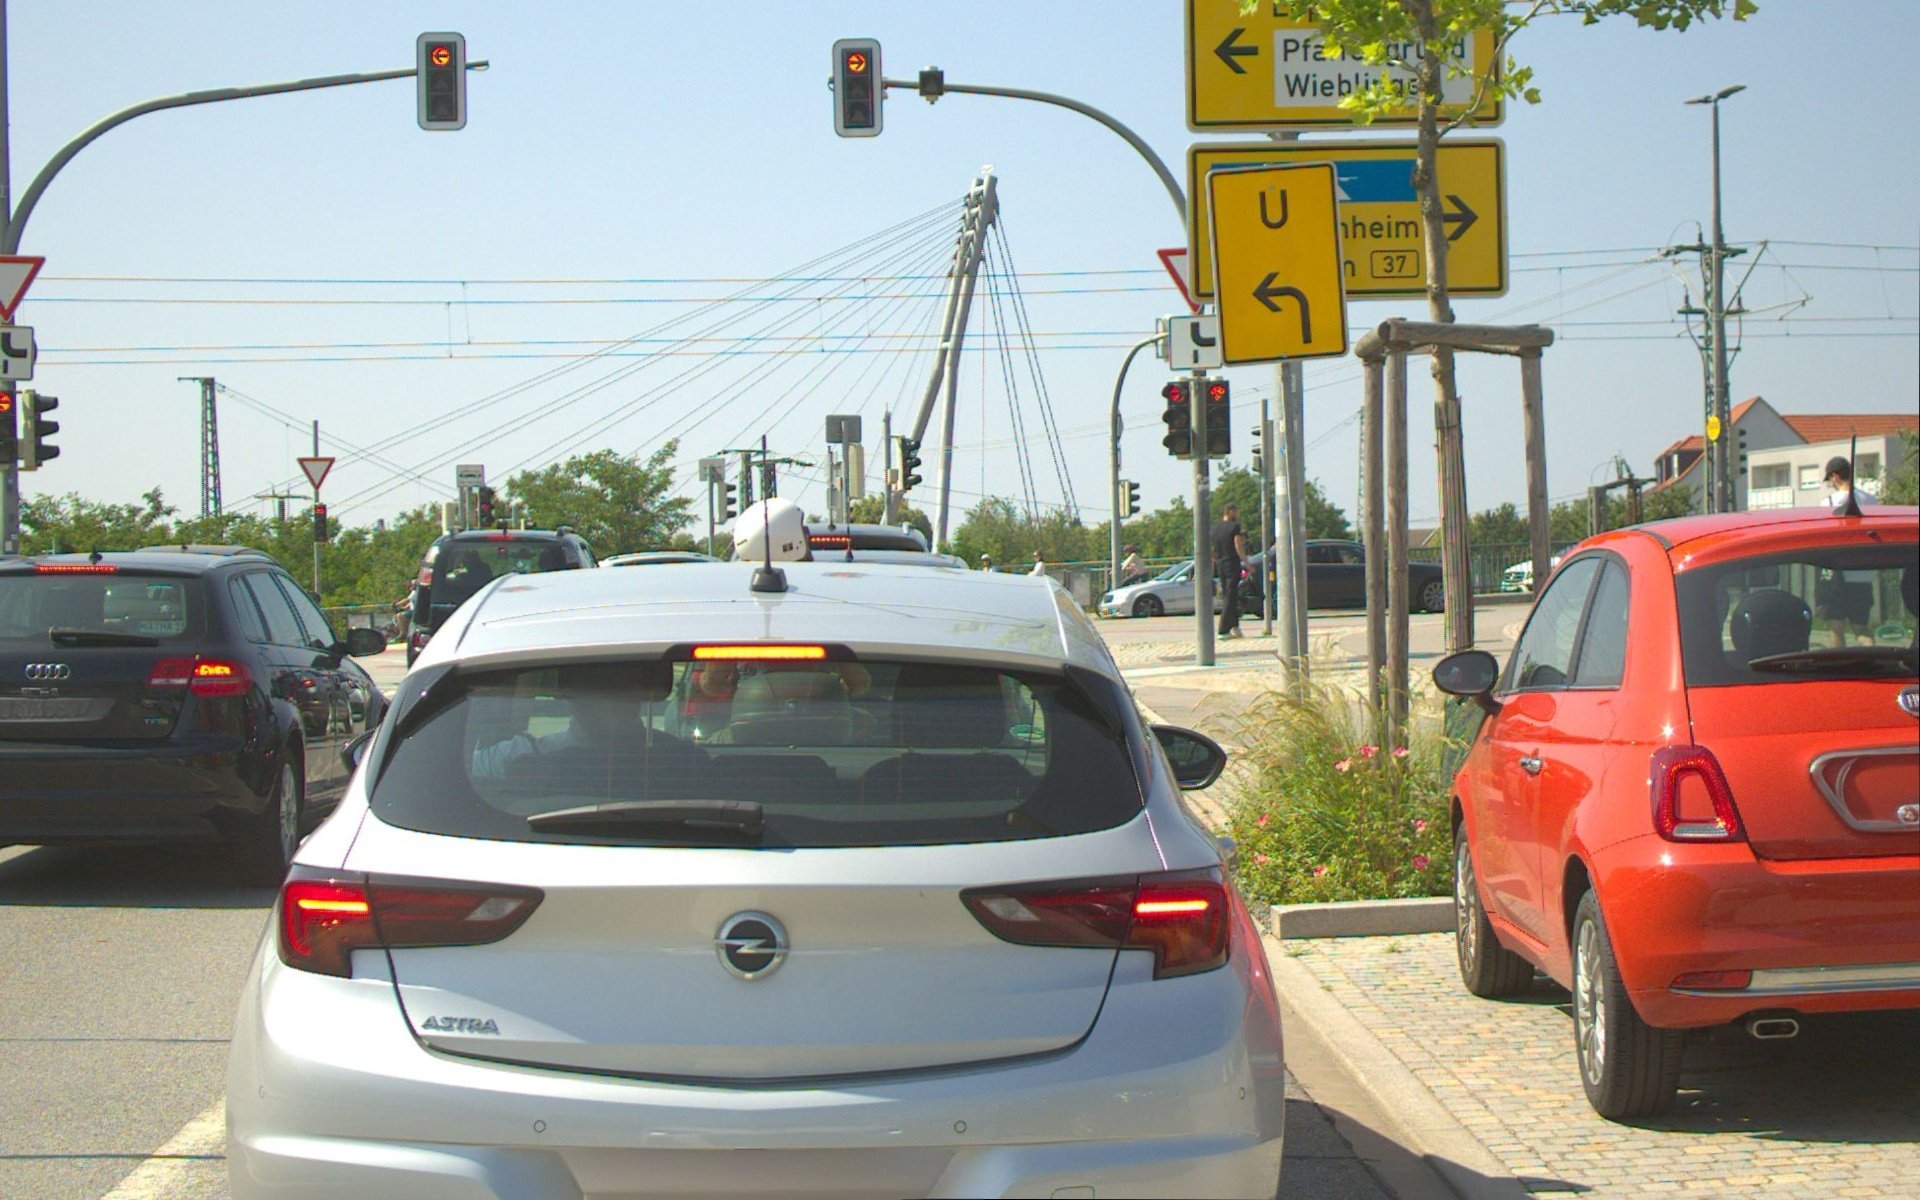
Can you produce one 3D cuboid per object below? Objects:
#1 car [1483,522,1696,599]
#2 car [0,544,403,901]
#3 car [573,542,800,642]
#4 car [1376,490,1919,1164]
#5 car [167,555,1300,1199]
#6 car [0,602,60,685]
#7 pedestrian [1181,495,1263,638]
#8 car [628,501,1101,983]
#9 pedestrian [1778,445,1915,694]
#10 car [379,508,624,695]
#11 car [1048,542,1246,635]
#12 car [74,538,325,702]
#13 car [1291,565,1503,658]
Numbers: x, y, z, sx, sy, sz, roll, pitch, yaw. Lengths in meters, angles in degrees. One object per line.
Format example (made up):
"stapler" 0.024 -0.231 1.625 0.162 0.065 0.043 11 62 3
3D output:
"car" 14.117 -0.884 77.138 4.244 1.668 2.001 0 0 -18
"car" -3.724 0.478 15.721 1.705 1.407 4.000 1 0 0
"car" -4.730 -0.138 59.257 3.815 1.623 1.857 1 0 -6
"car" 2.352 0.471 10.016 1.669 1.534 3.917 -2 2 -1
"car" -0.384 0.668 7.284 1.690 1.514 4.271 0 1 -1
"car" -17.857 0.750 61.218 3.146 1.434 1.585 1 0 16
"pedestrian" 3.464 -0.439 45.437 0.753 1.857 0.740 1 0 41
"car" -0.379 0.498 14.030 1.634 1.668 3.745 1 0 -1
"pedestrian" 6.634 -0.226 25.771 0.758 1.823 0.885 1 0 -1
"car" -4.151 0.009 31.656 1.803 1.616 3.917 0 0 -1
"car" 4.221 -0.251 77.683 3.986 2.007 2.000 -1 0 -17
"car" -6.781 0.166 30.932 1.587 1.390 3.340 0 0 -1
"car" 8.059 0.200 63.522 3.506 1.635 1.801 1 0 -8
